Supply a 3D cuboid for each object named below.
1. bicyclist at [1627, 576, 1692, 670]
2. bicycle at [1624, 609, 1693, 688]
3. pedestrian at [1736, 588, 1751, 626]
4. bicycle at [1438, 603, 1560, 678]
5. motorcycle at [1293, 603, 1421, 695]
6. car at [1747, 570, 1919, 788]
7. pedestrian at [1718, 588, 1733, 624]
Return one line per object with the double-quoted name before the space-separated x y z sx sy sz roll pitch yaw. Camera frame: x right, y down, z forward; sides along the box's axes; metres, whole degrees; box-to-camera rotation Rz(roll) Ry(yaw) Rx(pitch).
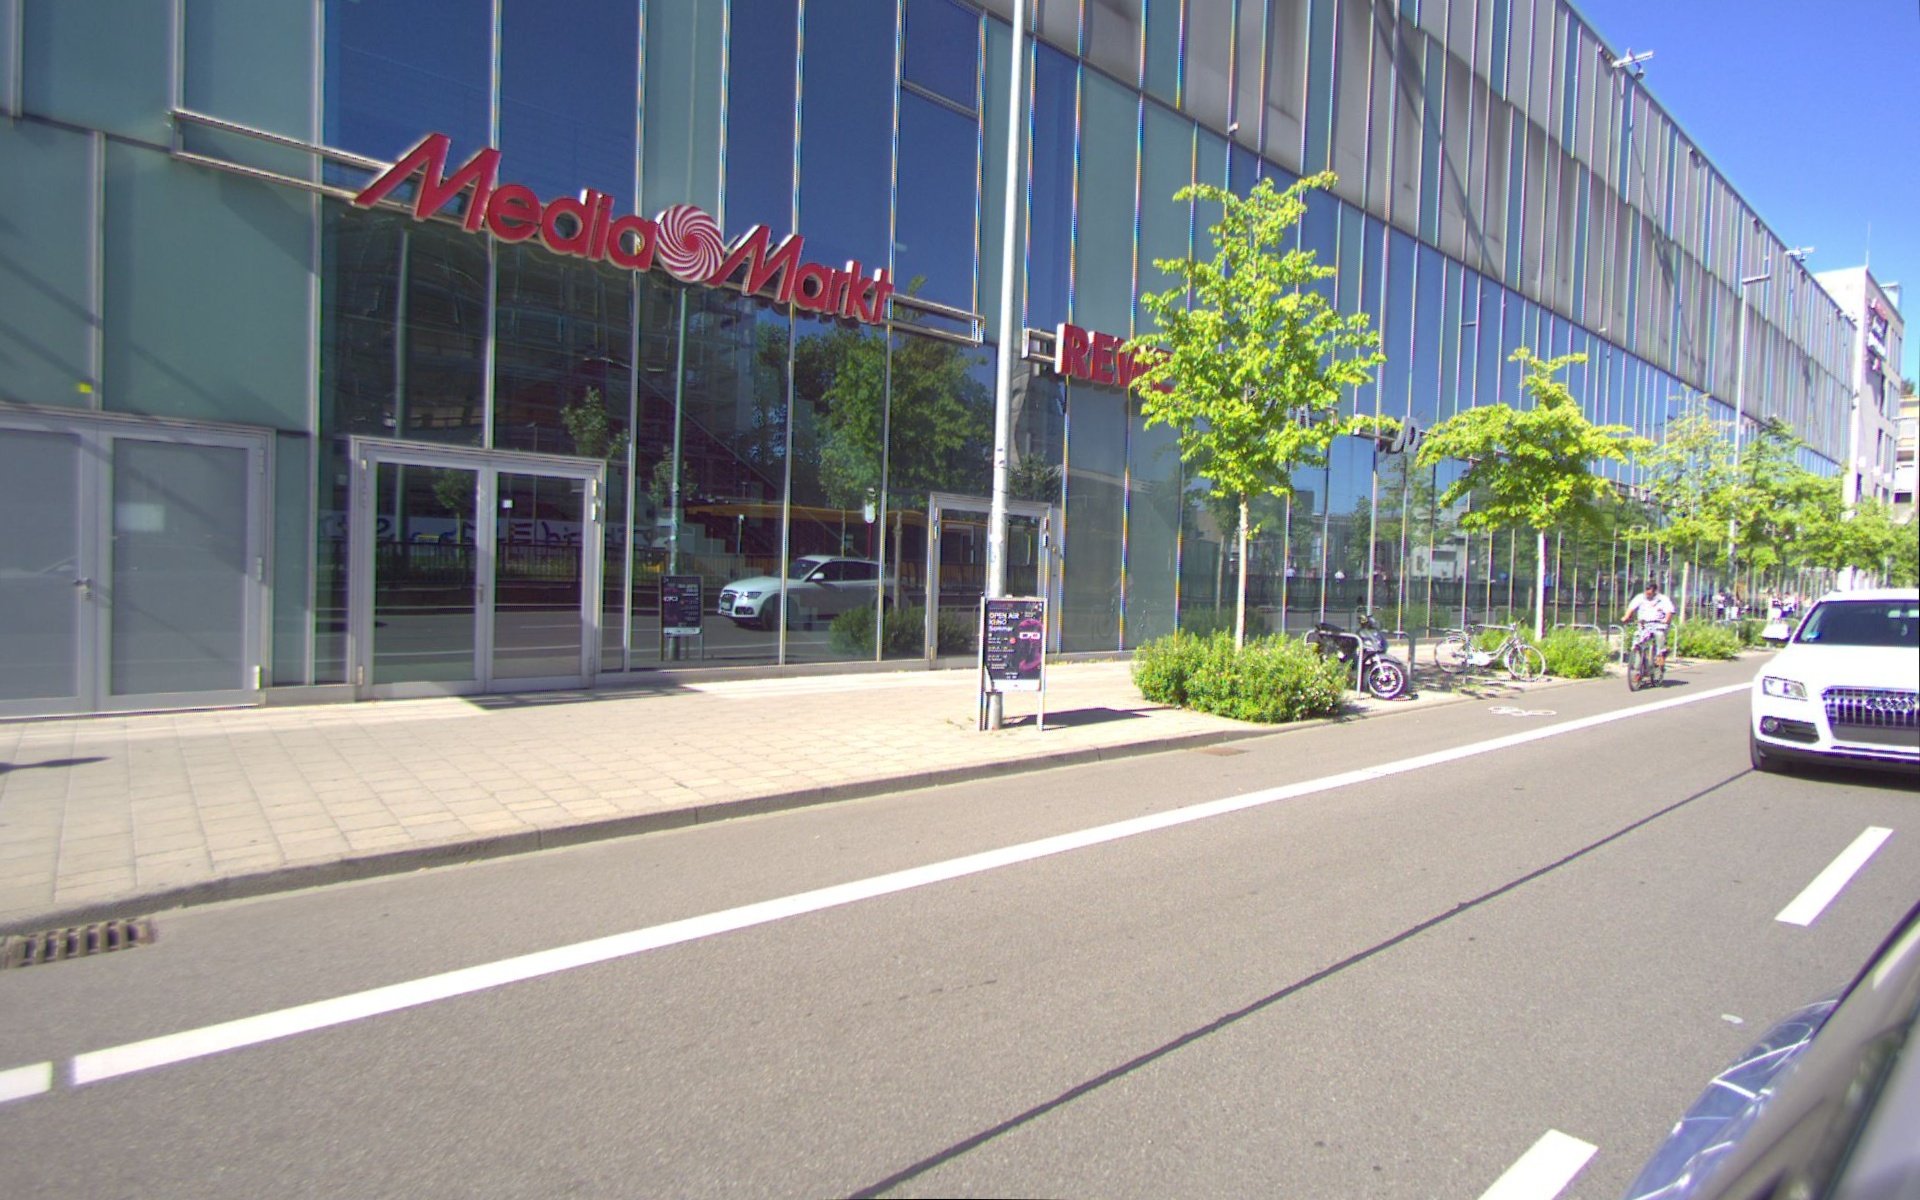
"bicyclist" 11.408 0.359 16.512 0.754 1.480 0.578 2 2 45
"bicycle" 11.413 0.755 16.519 0.608 1.165 1.956 1 1 44
"pedestrian" 35.696 0.304 46.123 0.339 1.712 0.450 1 1 -40
"bicycle" 9.192 0.666 17.283 1.729 1.075 0.462 6 3 35
"motorcycle" 5.620 0.667 14.470 0.630 1.095 1.886 1 3 -17
"car" 8.657 0.599 9.080 3.933 1.654 1.931 0 1 -43
"pedestrian" 35.127 0.282 46.440 0.282 1.620 0.450 1 1 -40
